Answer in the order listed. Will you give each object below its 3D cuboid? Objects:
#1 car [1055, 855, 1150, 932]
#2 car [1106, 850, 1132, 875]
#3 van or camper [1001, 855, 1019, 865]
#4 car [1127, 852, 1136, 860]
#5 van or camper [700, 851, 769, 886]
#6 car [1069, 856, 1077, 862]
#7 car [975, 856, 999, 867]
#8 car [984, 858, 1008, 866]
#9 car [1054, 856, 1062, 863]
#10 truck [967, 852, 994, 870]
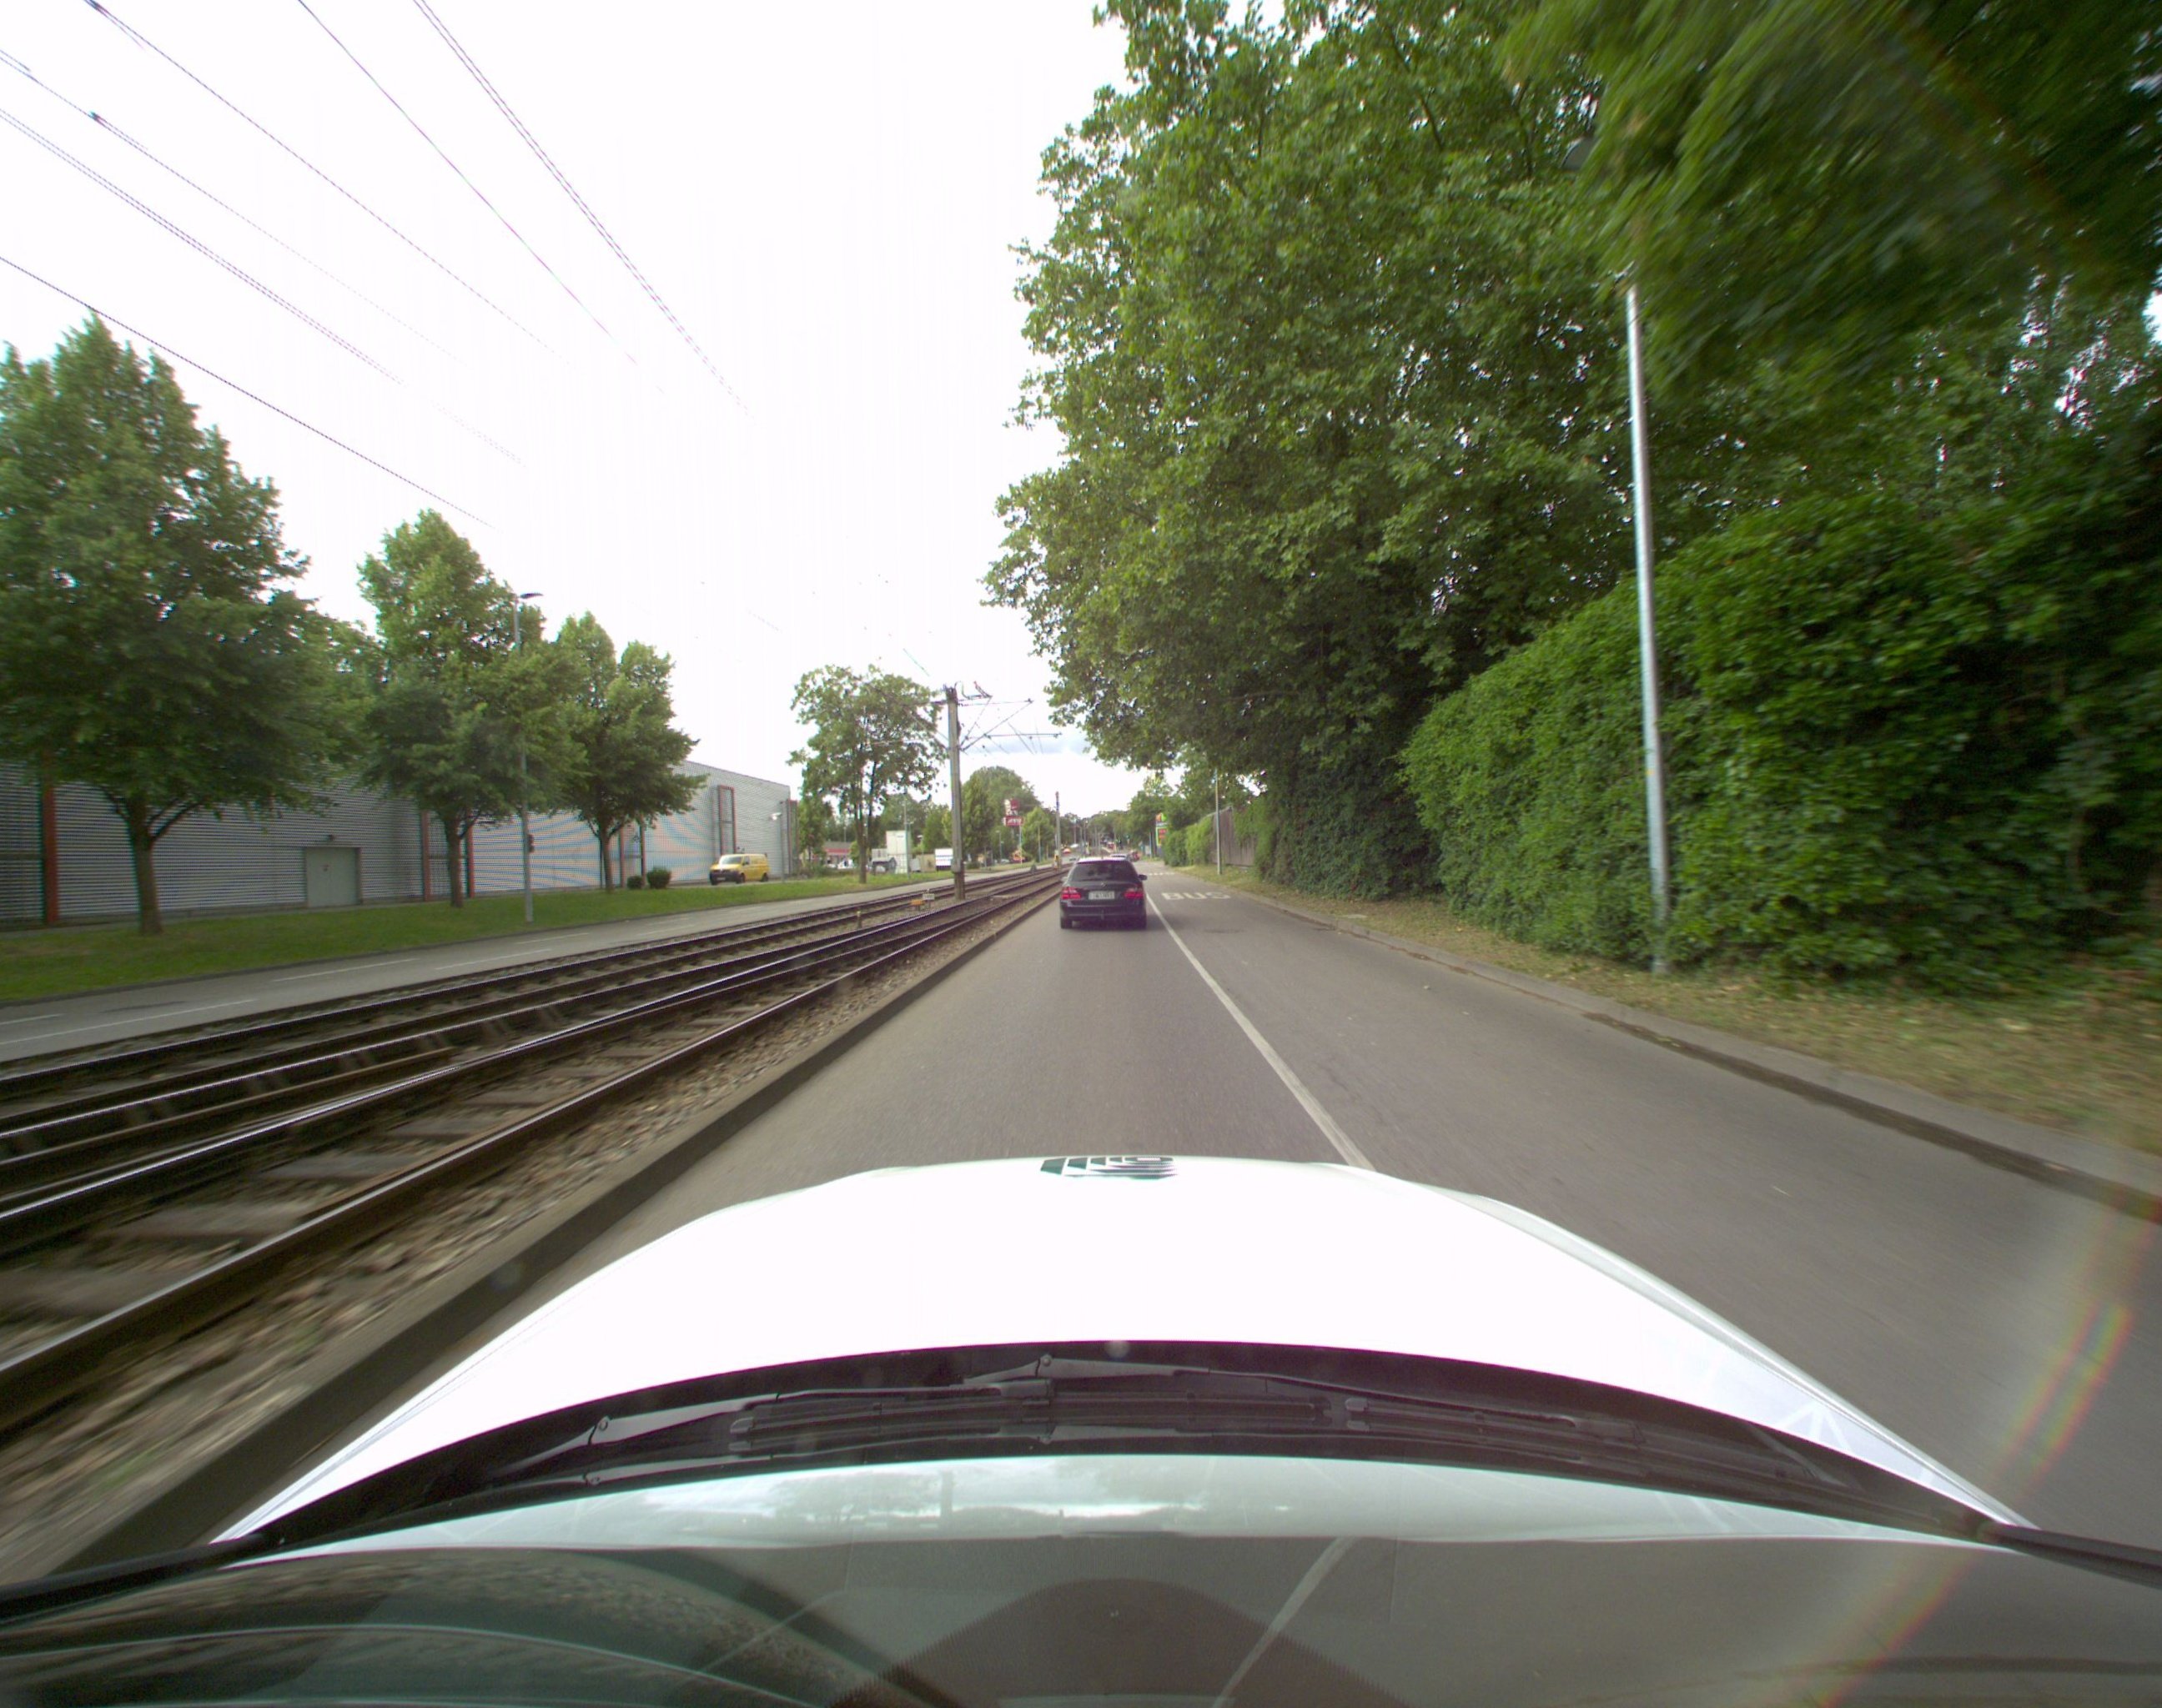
[{"bbox_3d":[0.515,0.770,17.743,1.801,1.474,3.884,-1,0,3],"label":"car"},{"bbox_3d":[2.705,0.592,58.322,1.773,1.750,3.720,0,-1,3],"label":"car"},{"bbox_3d":[-15.939,1.376,182.881,3.976,2.135,1.877,-1,0,-2],"label":"van or camper"},{"bbox_3d":[8.607,0.380,139.321,1.564,1.414,3.356,0,-1,3],"label":"car"},{"bbox_3d":[-21.781,0.890,51.502,2.097,2.013,5.241,-2,0,0],"label":"van or camper"},{"bbox_3d":[-2.075,1.316,211.382,1.752,1.401,4.445,-5,0,2],"label":"car"},{"bbox_3d":[-16.581,1.354,143.414,3.976,1.797,1.877,-3,0,-2],"label":"car"},{"bbox_3d":[-16.307,1.498,156.685,4.292,1.472,1.680,-2,0,0],"label":"car"},{"bbox_3d":[-5.951,1.345,209.215,1.786,1.772,4.001,-2,0,1],"label":"car"},{"bbox_3d":[-16.515,1.173,133.916,3.974,2.821,2.376,-3,0,0],"label":"truck"}]
